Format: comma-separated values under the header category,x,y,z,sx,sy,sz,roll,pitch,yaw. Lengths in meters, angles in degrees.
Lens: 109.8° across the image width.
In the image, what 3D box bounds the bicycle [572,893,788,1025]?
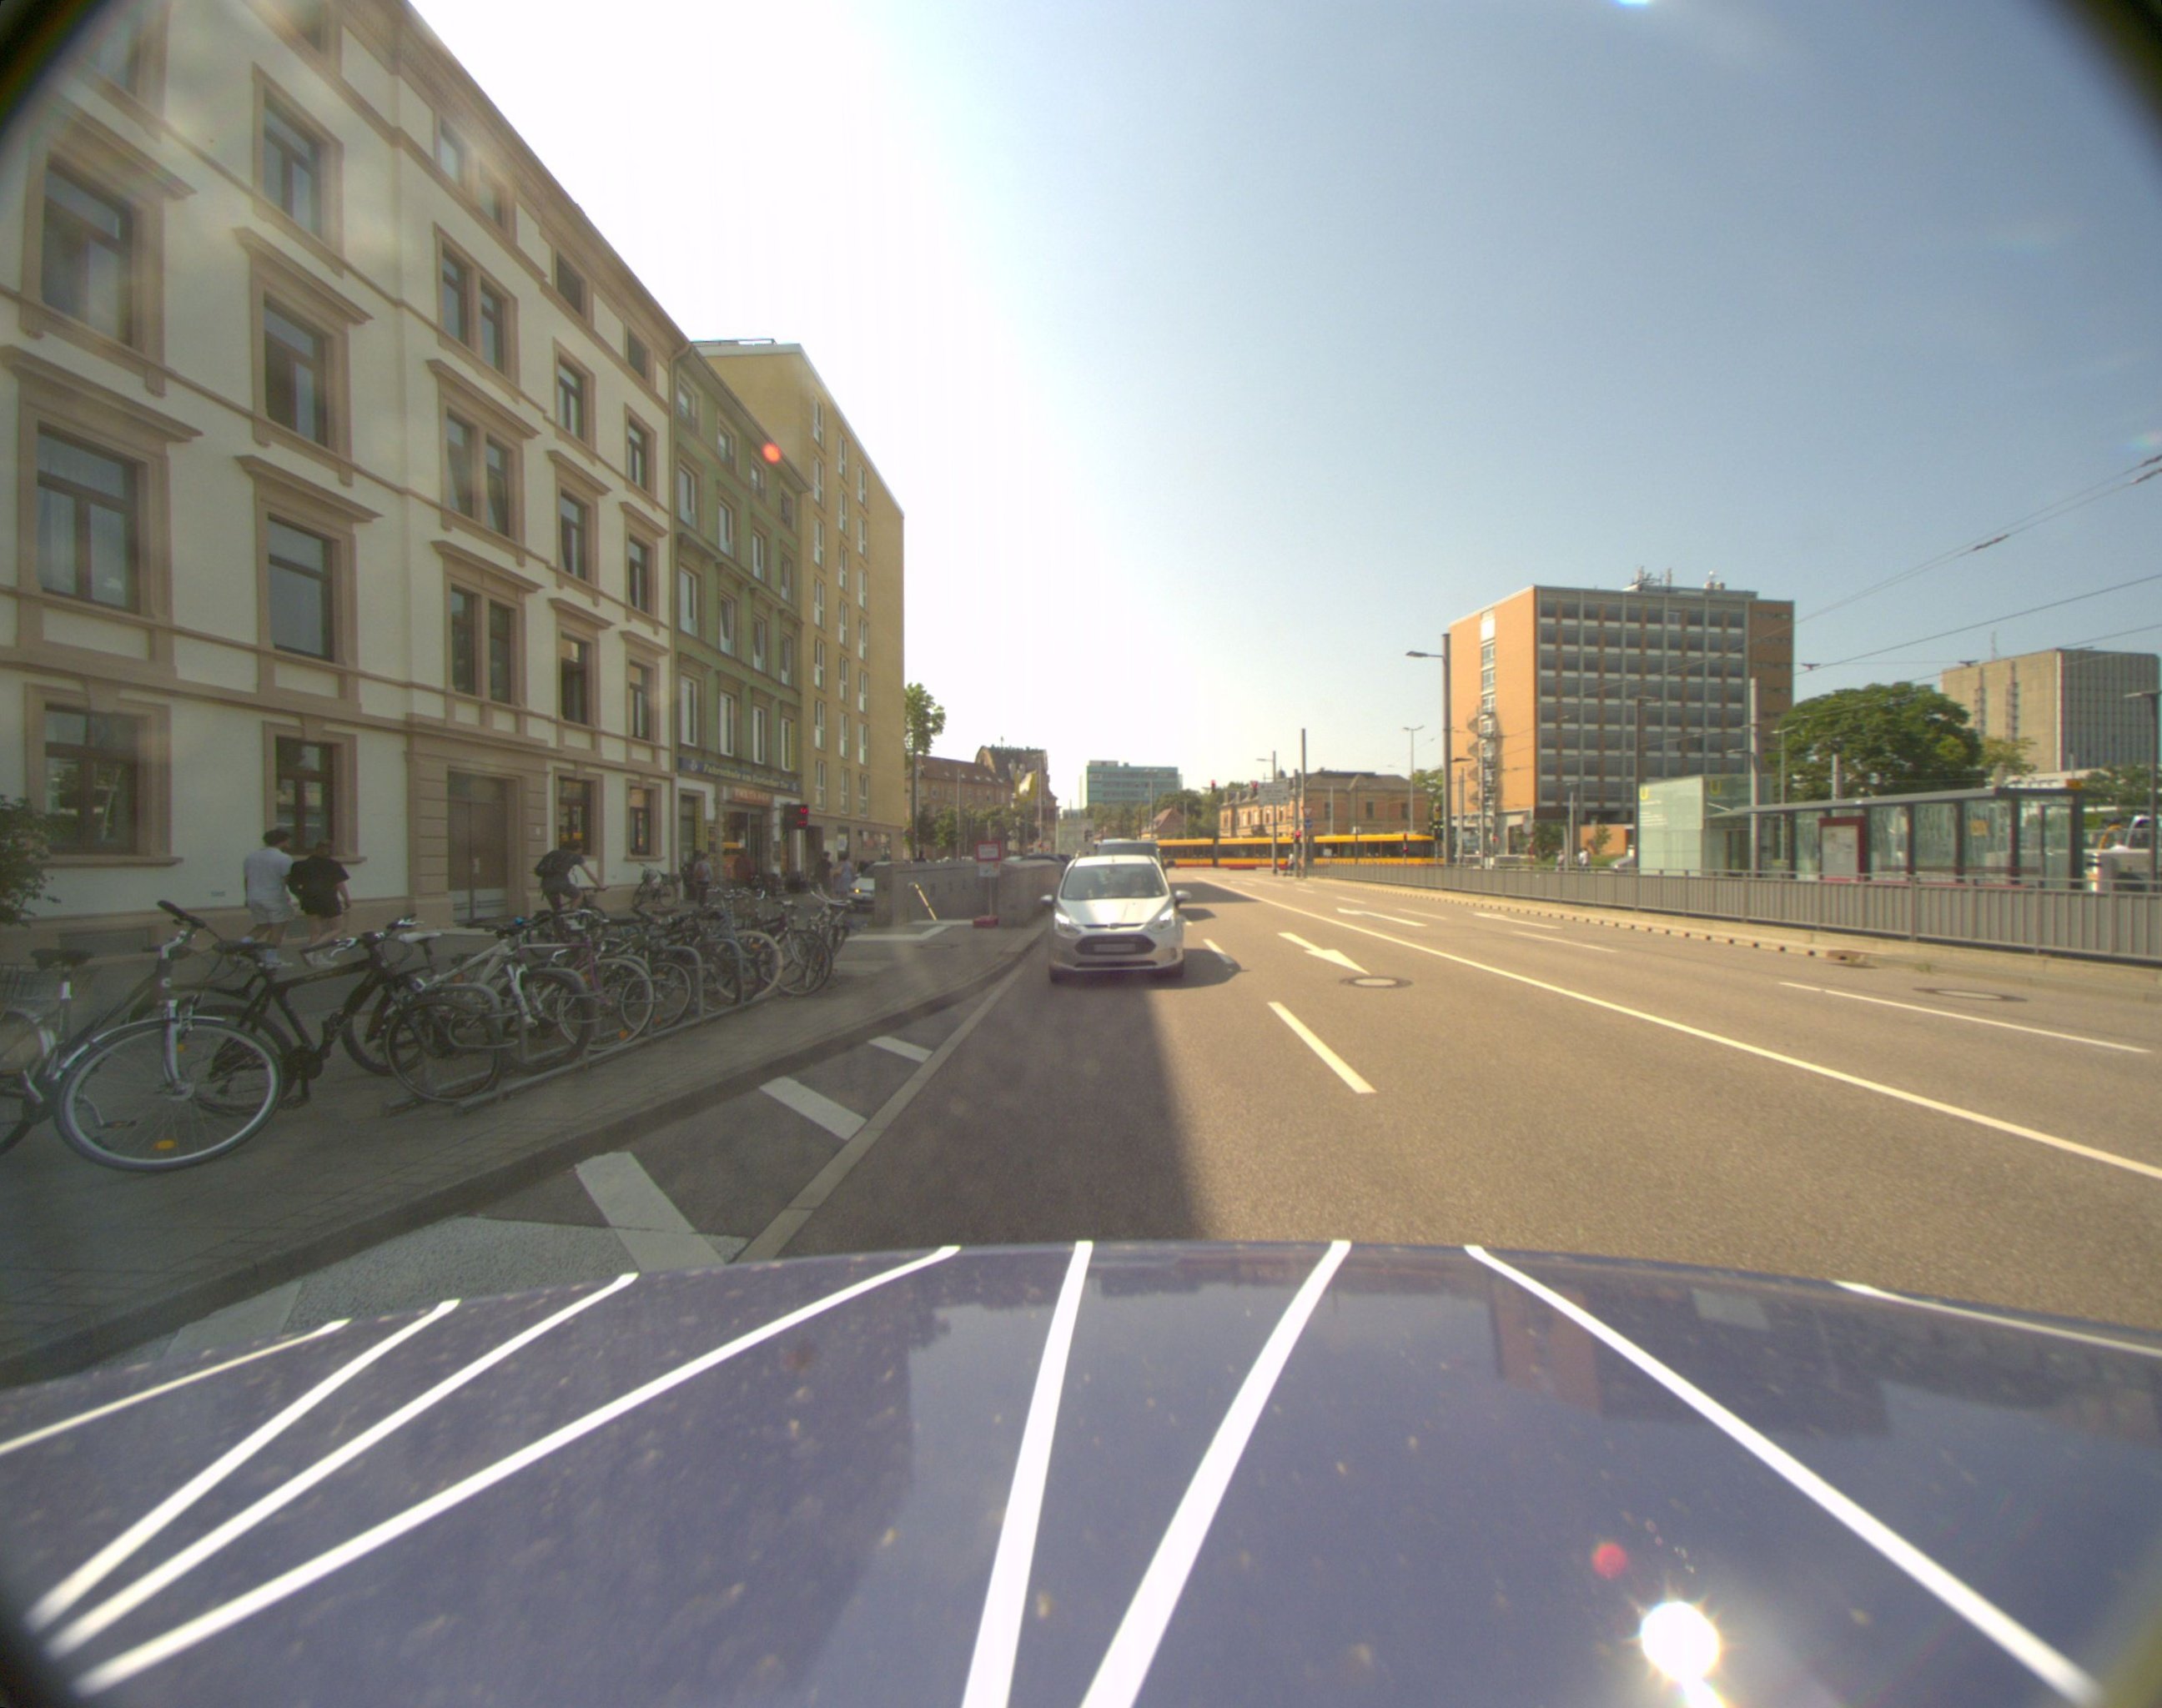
category,x,y,z,sx,sy,sz,roll,pitch,yaw
bicycle,-3.974,1.032,7.589,1.841,1.196,0.549,-2,1,3

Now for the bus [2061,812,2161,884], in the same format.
category,x,y,z,sx,sy,sz,roll,pitch,yaw
bus,53.041,-0.416,32.476,3.357,3.275,13.371,-3,1,-43

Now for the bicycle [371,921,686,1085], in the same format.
category,x,y,z,sx,sy,sz,roll,pitch,yaw
bicycle,-4.021,1.071,5.613,1.841,1.047,0.657,-2,1,3

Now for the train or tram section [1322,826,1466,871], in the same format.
category,x,y,z,sx,sy,sz,roll,pitch,yaw
train or tram section,28.163,-0.454,69.152,2.004,3.743,12.331,-1,1,-44

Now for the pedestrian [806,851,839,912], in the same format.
category,x,y,z,sx,sy,sz,roll,pitch,yaw
pedestrian,-7.590,0.785,22.342,0.688,1.748,0.796,1,1,0

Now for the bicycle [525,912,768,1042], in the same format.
category,x,y,z,sx,sy,sz,roll,pitch,yaw
bicycle,-3.939,1.103,6.969,1.841,1.050,0.657,-2,1,3

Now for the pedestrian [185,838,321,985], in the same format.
category,x,y,z,sx,sy,sz,roll,pitch,yaw
pedestrian,-10.598,0.703,9.766,0.727,1.793,0.928,1,1,-1

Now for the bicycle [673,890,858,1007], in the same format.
category,x,y,z,sx,sy,sz,roll,pitch,yaw
bicycle,-3.469,1.038,8.410,1.841,1.196,0.435,-2,1,3

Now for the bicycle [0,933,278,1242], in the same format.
category,x,y,z,sx,sy,sz,roll,pitch,yaw
bicycle,-4.816,1.003,3.460,1.607,1.178,0.690,-2,1,4

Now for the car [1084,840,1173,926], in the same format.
category,x,y,z,sx,sy,sz,roll,pitch,yaw
car,1.218,0.652,20.023,1.998,1.953,4.816,-1,1,3

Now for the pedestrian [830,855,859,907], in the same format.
category,x,y,z,sx,sy,sz,roll,pitch,yaw
pedestrian,-7.441,0.834,23.930,0.645,1.619,0.797,1,1,2

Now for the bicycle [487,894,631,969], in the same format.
category,x,y,z,sx,sy,sz,roll,pitch,yaw
bicycle,-7.892,1.138,11.617,0.720,0.948,2.001,-1,0,4

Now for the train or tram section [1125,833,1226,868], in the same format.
category,x,y,z,sx,sy,sz,roll,pitch,yaw
train or tram section,10.498,-0.412,86.286,12.331,3.743,2.004,0,1,41

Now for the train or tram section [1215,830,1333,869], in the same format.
category,x,y,z,sx,sy,sz,roll,pitch,yaw
train or tram section,19.543,-0.435,77.921,12.331,3.743,2.004,0,1,44

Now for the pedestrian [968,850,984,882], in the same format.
category,x,y,z,sx,sy,sz,roll,pitch,yaw
pedestrian,-5.298,0.587,38.255,0.645,1.619,0.797,1,1,3

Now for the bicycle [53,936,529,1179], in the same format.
category,x,y,z,sx,sy,sz,roll,pitch,yaw
bicycle,-4.101,1.034,4.042,1.807,1.069,0.699,-2,1,2

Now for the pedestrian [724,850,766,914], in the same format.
category,x,y,z,sx,sy,sz,roll,pitch,yaw
pedestrian,-9.229,0.749,20.894,0.772,1.724,0.881,1,1,-2

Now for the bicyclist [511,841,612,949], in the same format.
category,x,y,z,sx,sy,sz,roll,pitch,yaw
bicyclist,-7.903,0.598,11.604,0.720,1.577,1.103,-1,0,4

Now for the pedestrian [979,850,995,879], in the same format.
category,x,y,z,sx,sy,sz,roll,pitch,yaw
pedestrian,-5.176,0.573,41.790,0.645,1.619,0.797,1,1,10

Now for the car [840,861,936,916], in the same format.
category,x,y,z,sx,sy,sz,roll,pitch,yaw
car,-5.749,0.987,23.089,1.666,1.418,3.935,2,0,4

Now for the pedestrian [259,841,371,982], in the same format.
category,x,y,z,sx,sy,sz,roll,pitch,yaw
pedestrian,-9.945,0.721,9.896,0.645,1.762,0.796,1,1,-2

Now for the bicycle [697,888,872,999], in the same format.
category,x,y,z,sx,sy,sz,roll,pitch,yaw
bicycle,-3.443,1.033,8.870,1.841,1.212,0.435,-2,1,3

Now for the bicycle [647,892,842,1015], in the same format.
category,x,y,z,sx,sy,sz,roll,pitch,yaw
bicycle,-3.509,1.029,7.974,1.841,1.196,0.435,-2,1,3

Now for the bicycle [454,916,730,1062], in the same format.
category,x,y,z,sx,sy,sz,roll,pitch,yaw
bicycle,-3.990,1.091,6.279,1.841,1.054,0.657,-2,1,3

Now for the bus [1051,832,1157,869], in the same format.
category,x,y,z,sx,sy,sz,roll,pitch,yaw
bus,1.939,-0.247,73.111,2.927,3.120,12.312,-3,1,-38

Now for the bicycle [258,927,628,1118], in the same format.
category,x,y,z,sx,sy,sz,roll,pitch,yaw
bicycle,-4.057,1.056,4.915,1.841,1.054,0.657,-2,1,3

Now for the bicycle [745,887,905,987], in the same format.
category,x,y,z,sx,sy,sz,roll,pitch,yaw
bicycle,-3.320,1.064,9.945,1.841,1.196,0.637,-2,1,3

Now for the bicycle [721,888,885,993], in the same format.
category,x,y,z,sx,sy,sz,roll,pitch,yaw
bicycle,-3.400,1.049,9.348,1.841,1.196,0.435,-2,1,3

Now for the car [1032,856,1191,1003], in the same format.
category,x,y,z,sx,sy,sz,roll,pitch,yaw
car,0.450,0.870,10.654,1.728,1.579,4.001,-3,0,3

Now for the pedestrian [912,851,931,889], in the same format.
category,x,y,z,sx,sy,sz,roll,pitch,yaw
pedestrian,-6.766,0.666,32.290,0.645,1.619,0.796,1,1,1

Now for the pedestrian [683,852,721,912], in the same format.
category,x,y,z,sx,sy,sz,roll,pitch,yaw
pedestrian,-10.479,0.763,21.028,0.645,1.619,0.796,1,1,-2
